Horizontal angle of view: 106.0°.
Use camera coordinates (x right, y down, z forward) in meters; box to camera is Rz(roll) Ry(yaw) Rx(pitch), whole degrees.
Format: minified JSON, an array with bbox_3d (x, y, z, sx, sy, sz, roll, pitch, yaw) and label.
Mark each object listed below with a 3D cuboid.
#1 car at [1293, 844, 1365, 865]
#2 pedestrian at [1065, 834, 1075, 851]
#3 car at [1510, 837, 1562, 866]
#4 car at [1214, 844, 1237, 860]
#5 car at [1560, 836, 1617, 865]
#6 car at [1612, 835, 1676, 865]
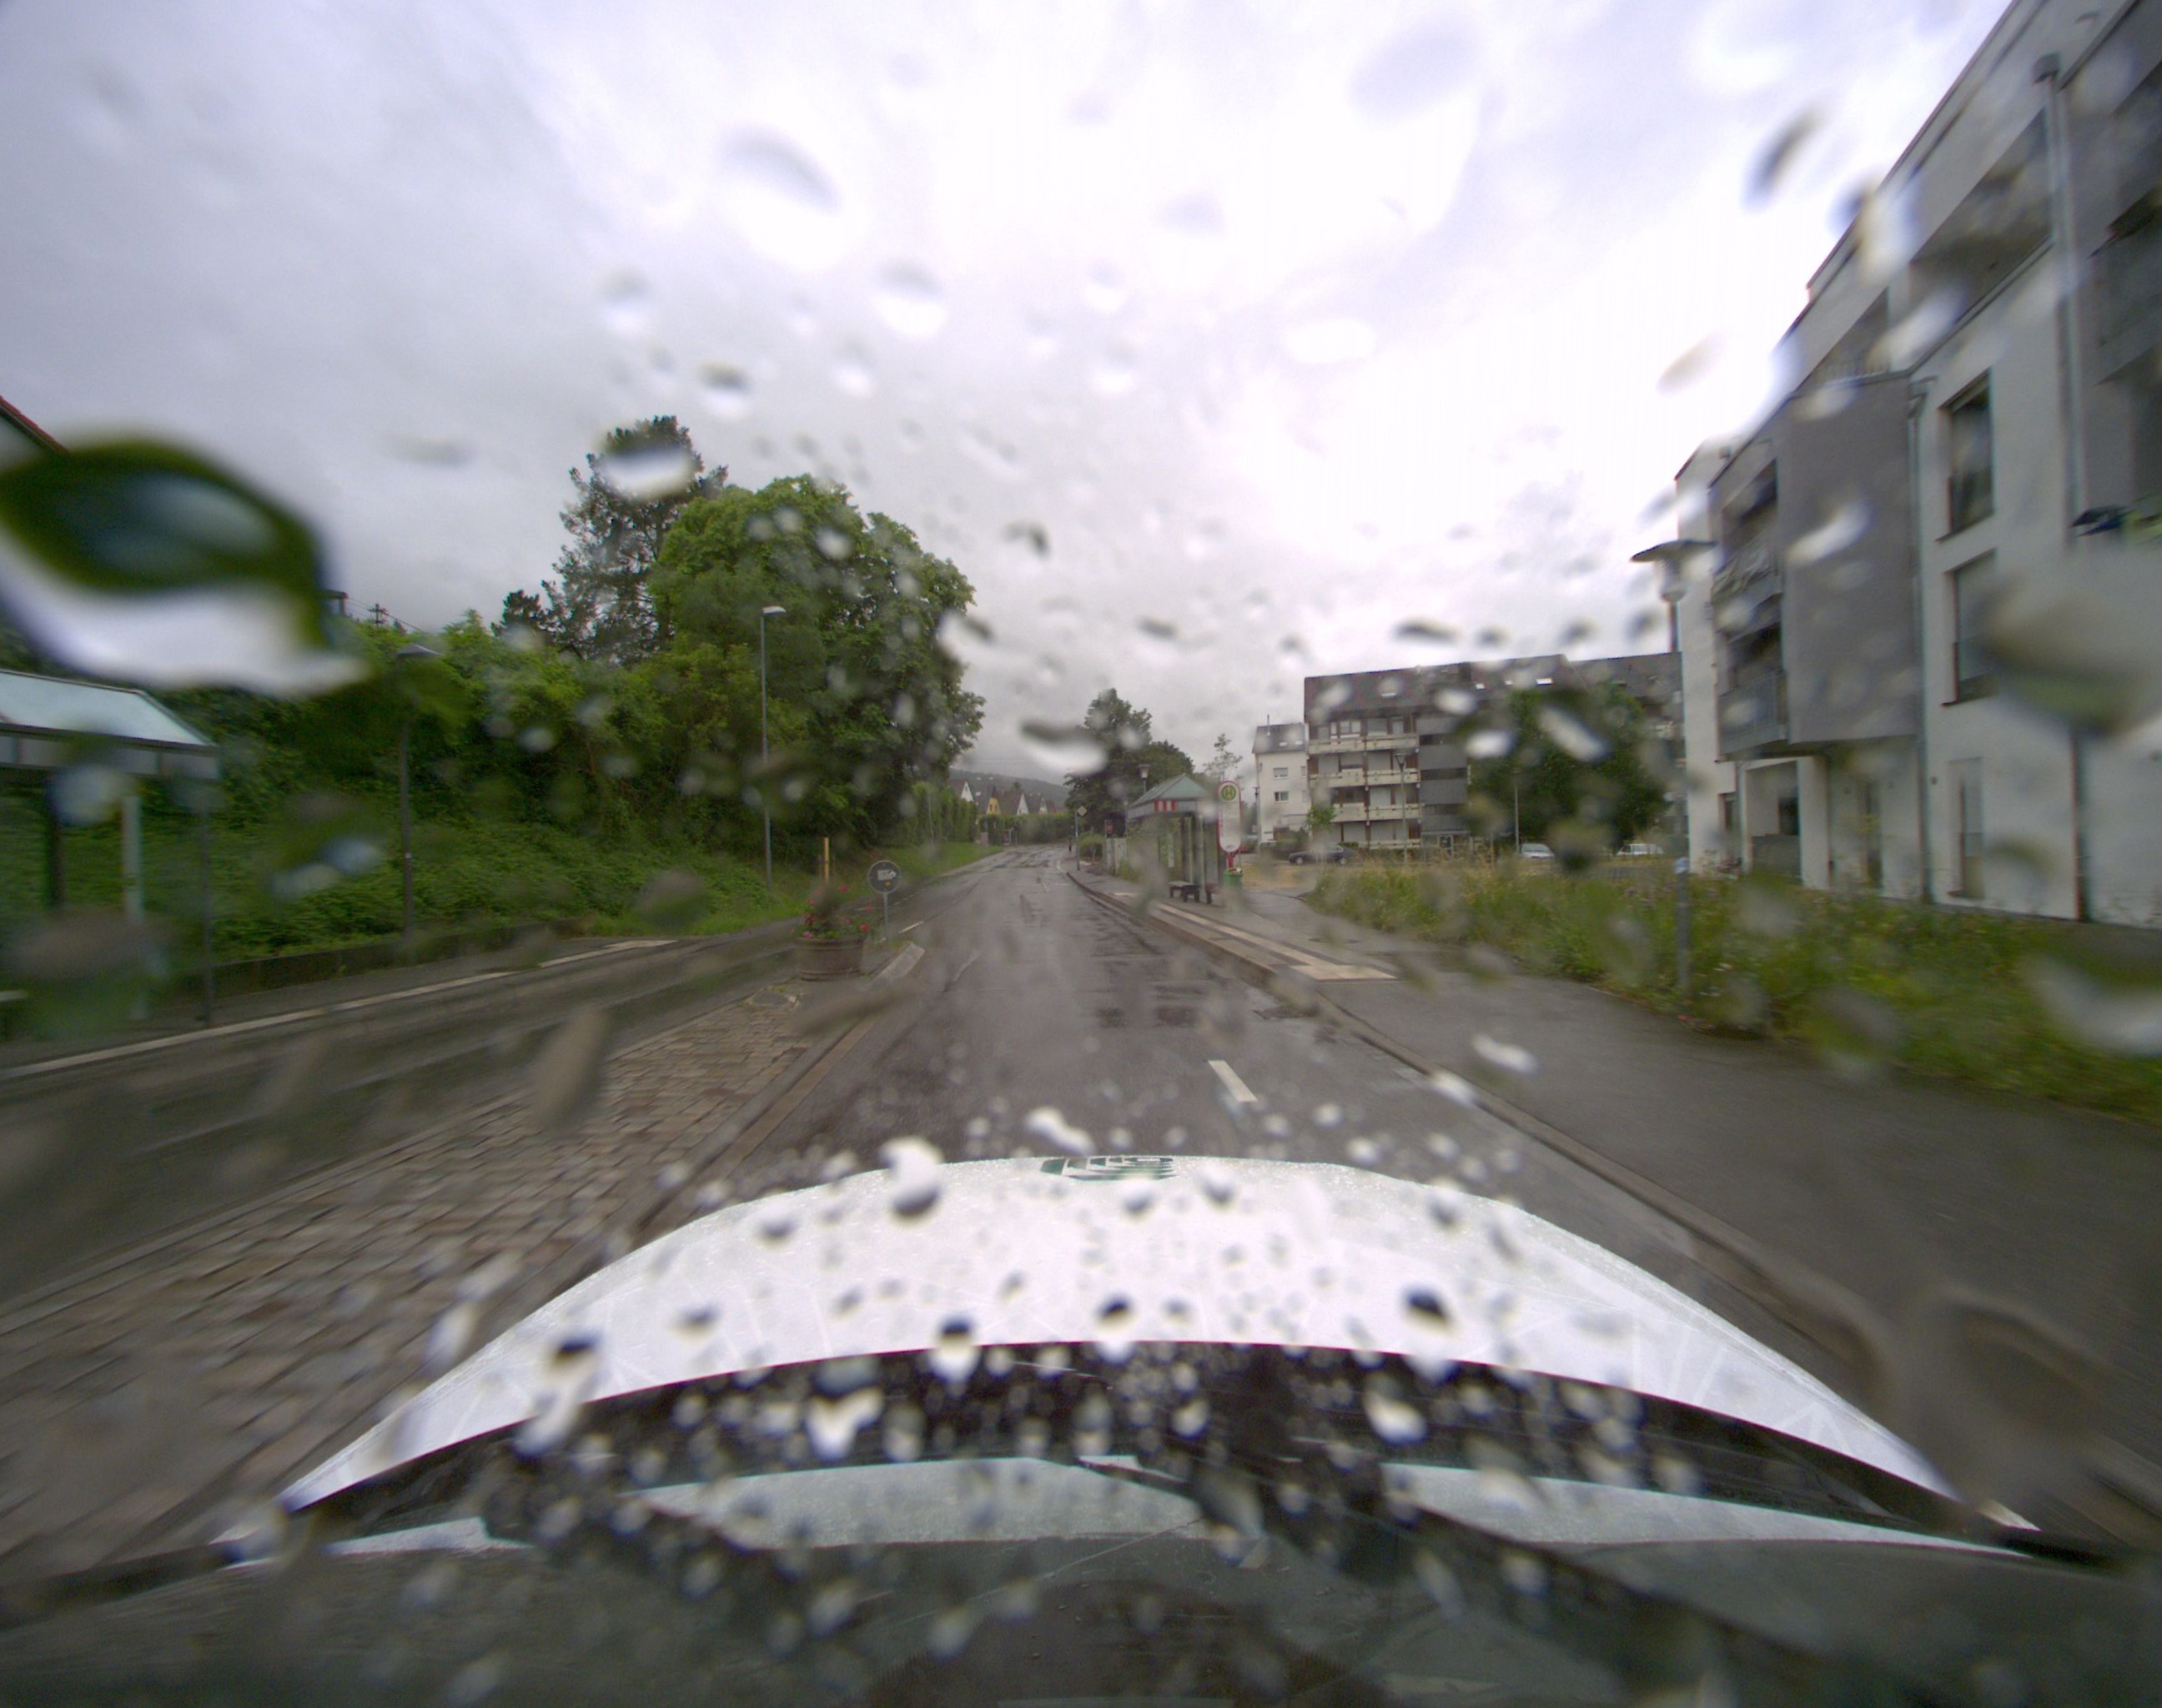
[{"bbox_3d":[16.620,0.022,54.566,4.564,1.387,1.956,0,1,18],"label":"car"},{"bbox_3d":[-1.069,-1.168,82.768,0.917,1.675,1.057,-3,1,0],"label":"pedestrian"},{"bbox_3d":[24.839,-0.126,44.581,1.702,1.441,3.722,-1,-2,17],"label":"car"},{"bbox_3d":[14.768,-0.234,83.500,1.683,1.438,3.611,-1,2,0],"label":"car"},{"bbox_3d":[27.107,-0.150,43.626,1.702,1.441,3.722,-1,-2,17],"label":"car"},{"bbox_3d":[29.548,-0.167,42.829,1.702,1.441,3.722,-1,-2,17],"label":"car"}]
